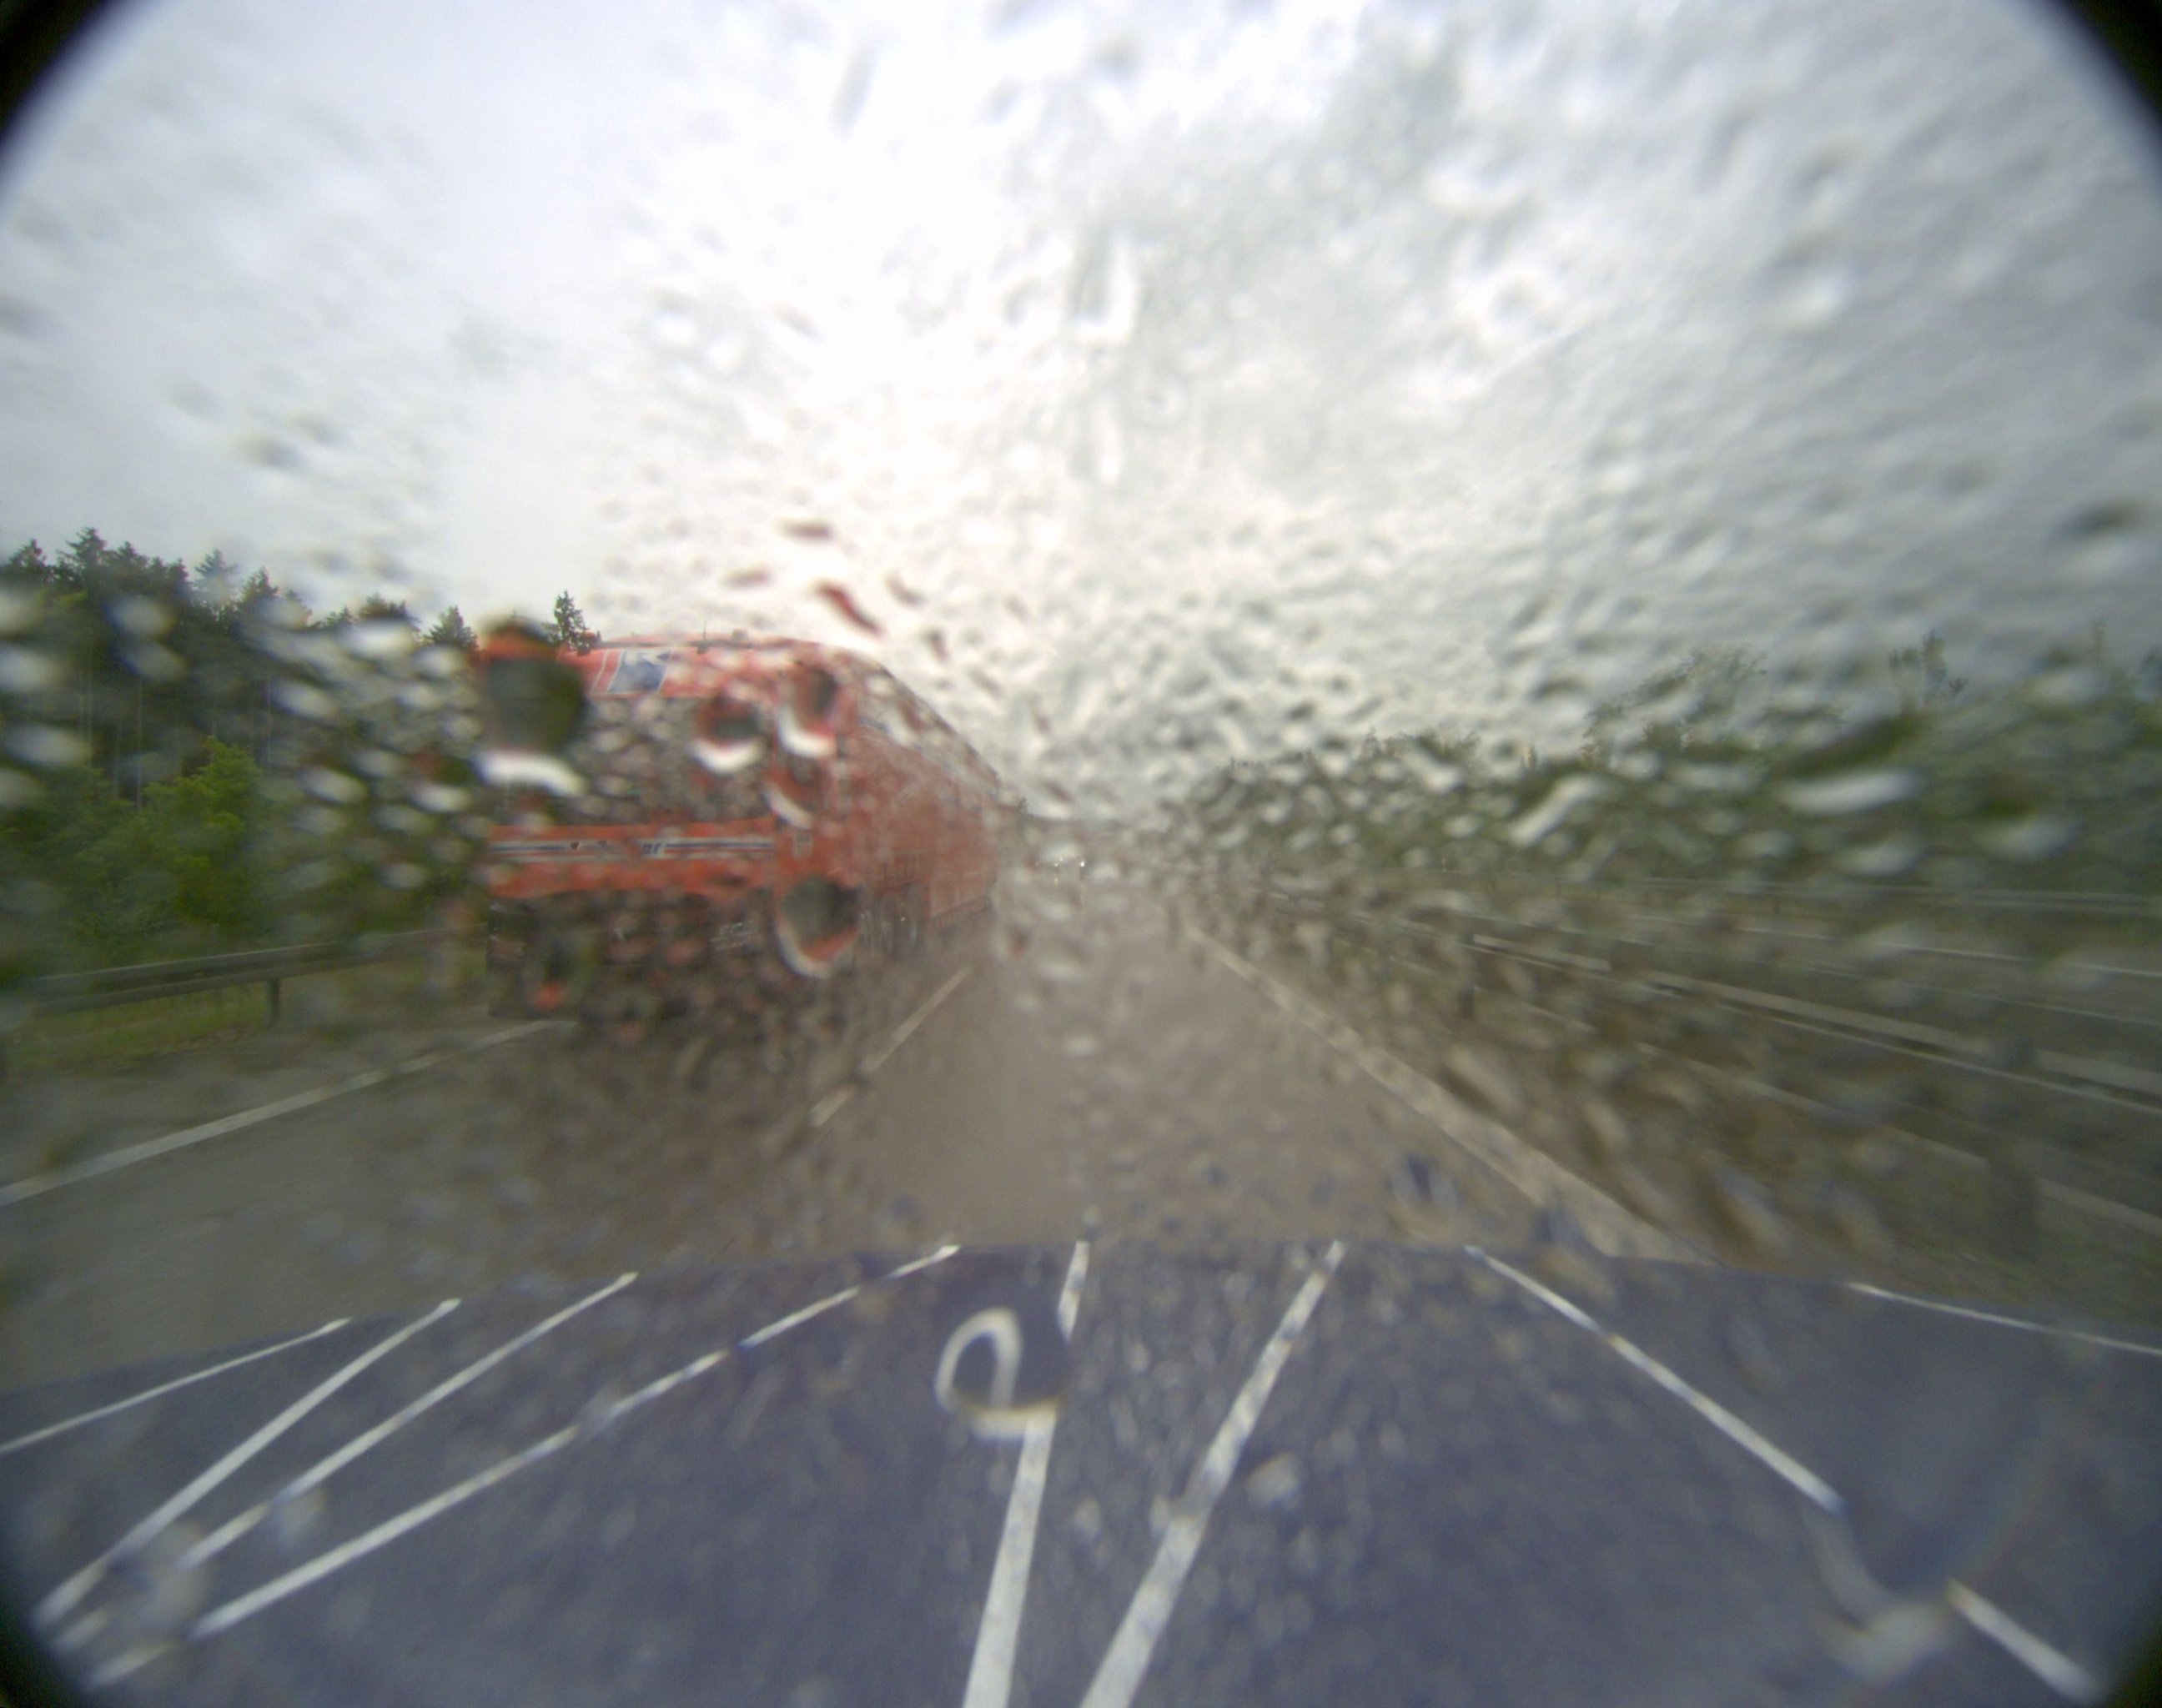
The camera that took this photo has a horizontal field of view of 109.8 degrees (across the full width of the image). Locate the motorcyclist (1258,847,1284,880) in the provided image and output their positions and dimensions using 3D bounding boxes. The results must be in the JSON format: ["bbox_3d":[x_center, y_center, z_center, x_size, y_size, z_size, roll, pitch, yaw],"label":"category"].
[{"bbox_3d":[10.412,0.494,41.776,1.070,1.746,1.444,-1,1,1],"label":"motorcyclist"}]

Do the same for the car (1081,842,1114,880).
[{"bbox_3d":[0.953,0.370,44.084,1.795,2.113,4.524,1,0,1],"label":"car"}]

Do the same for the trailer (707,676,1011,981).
[{"bbox_3d":[-3.636,-0.384,16.893,2.801,4.133,13.004,1,0,1],"label":"trailer"}]

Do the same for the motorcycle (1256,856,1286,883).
[{"bbox_3d":[10.419,0.833,41.813,1.075,1.381,2.413,-1,0,0],"label":"motorcycle"}]

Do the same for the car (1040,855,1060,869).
[{"bbox_3d":[-2.690,0.664,65.689,1.496,1.189,3.668,1,0,1],"label":"car"}]

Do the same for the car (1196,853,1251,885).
[{"bbox_3d":[6.730,0.674,36.218,1.772,1.410,4.606,0,0,0],"label":"car"}]

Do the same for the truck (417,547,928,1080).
[{"bbox_3d":[-3.714,-0.318,8.580,2.766,4.064,5.437,1,1,1],"label":"truck"}]
